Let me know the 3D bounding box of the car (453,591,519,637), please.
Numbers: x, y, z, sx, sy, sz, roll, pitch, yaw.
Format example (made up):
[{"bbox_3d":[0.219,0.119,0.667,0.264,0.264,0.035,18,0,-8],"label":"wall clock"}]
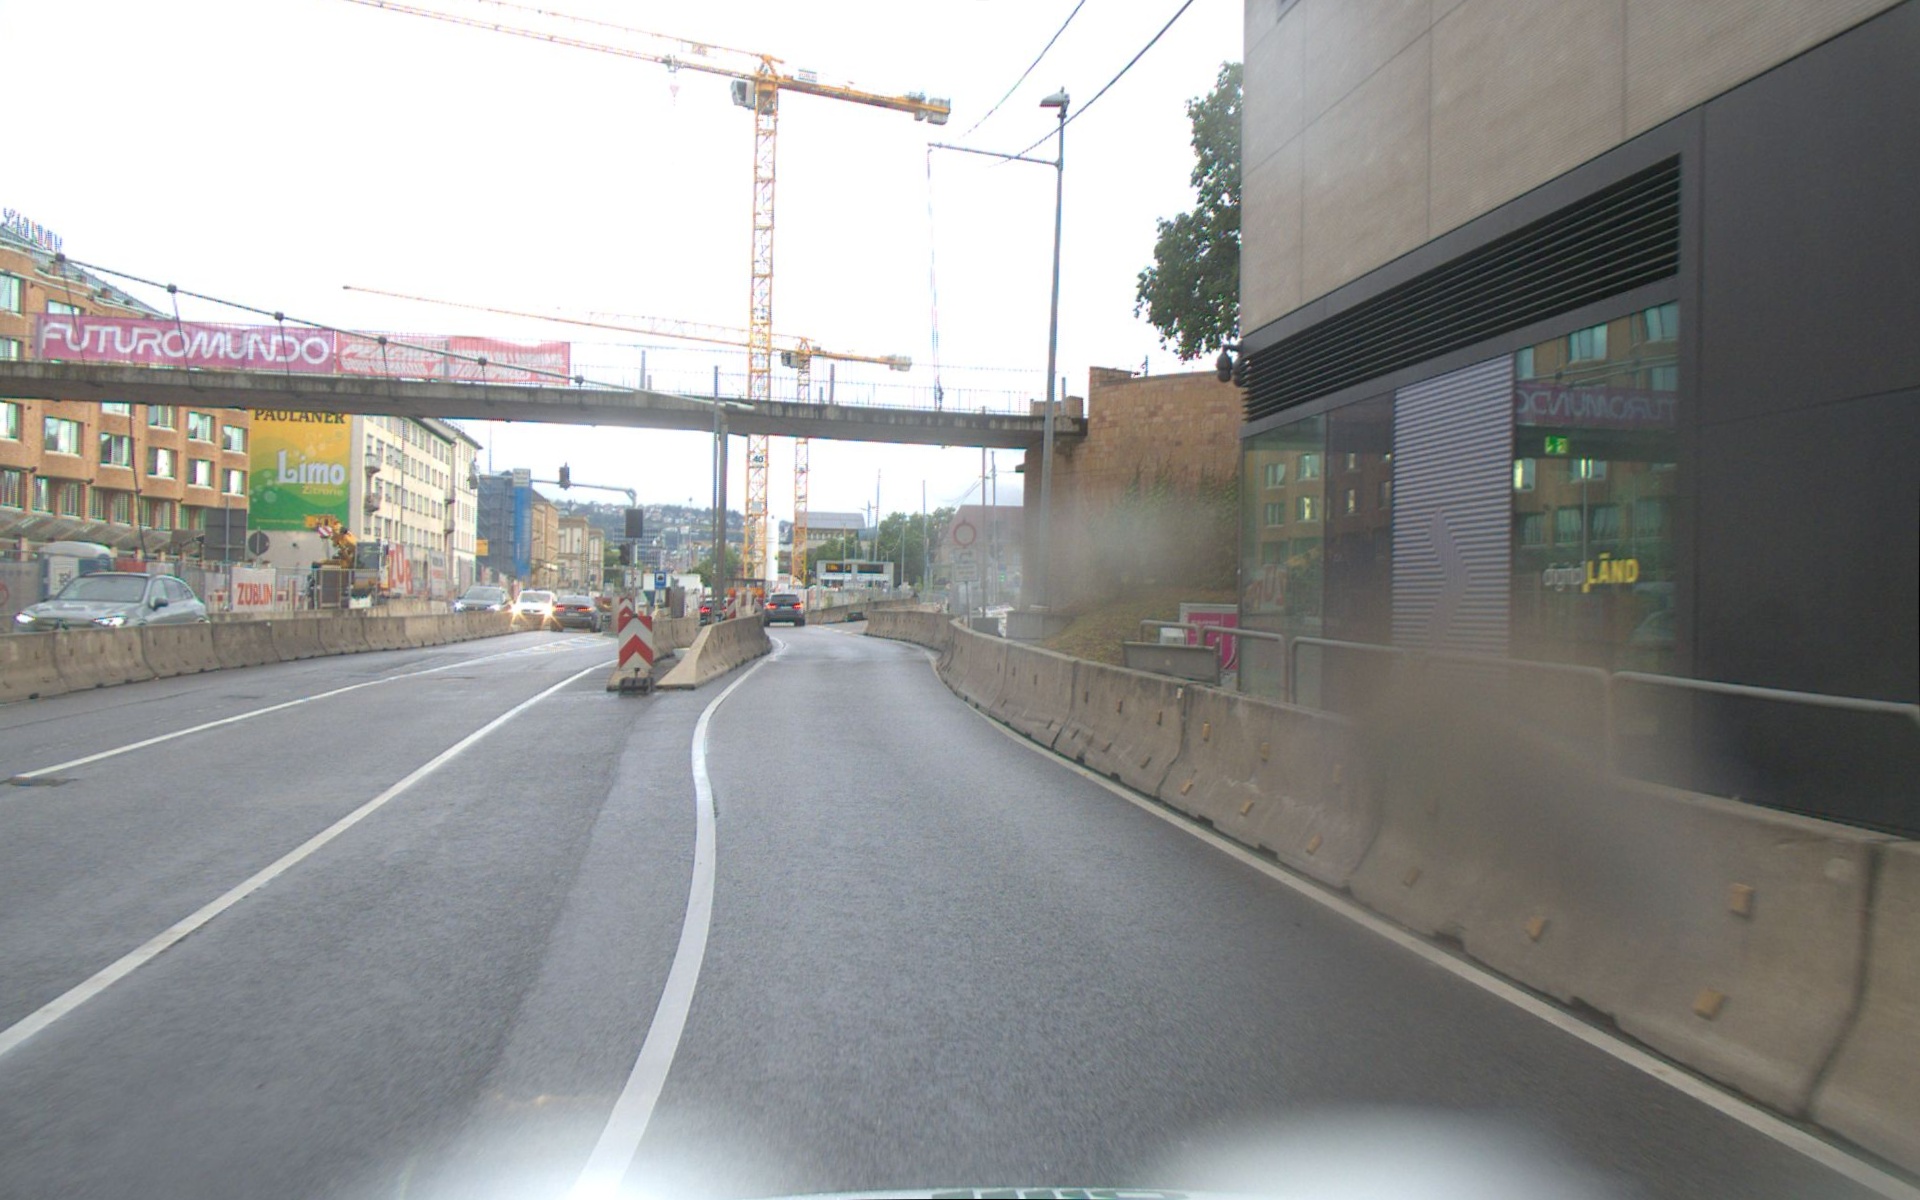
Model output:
[{"bbox_3d":[-18.455,0.506,64.546,1.771,1.651,3.899,1,1,-5],"label":"car"}]

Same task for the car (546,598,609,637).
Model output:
[{"bbox_3d":[-15.280,0.692,66.350,1.827,1.468,4.650,2,0,-6],"label":"car"}]

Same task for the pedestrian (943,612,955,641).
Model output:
[{"bbox_3d":[-0.693,1.668,104.472,0.676,1.809,1.021,0,-2,-7],"label":"pedestrian"}]

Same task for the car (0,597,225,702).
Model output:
[{"bbox_3d":[-14.742,0.795,29.092,1.955,1.651,4.695,1,0,-7],"label":"car"}]

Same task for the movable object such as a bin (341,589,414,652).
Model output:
[{"bbox_3d":[-22.868,0.803,65.084,1.990,2.317,4.281,-2,0,-11],"label":"movable object such as a bin"}]

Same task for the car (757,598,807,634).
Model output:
[{"bbox_3d":[-7.822,0.675,72.350,1.829,1.458,4.644,2,0,-11],"label":"car"}]

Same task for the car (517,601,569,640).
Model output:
[{"bbox_3d":[-20.969,1.013,83.350,1.771,1.853,5.294,1,0,-6],"label":"car"}]

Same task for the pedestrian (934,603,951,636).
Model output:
[{"bbox_3d":[-0.967,1.109,92.397,0.681,1.809,0.808,1,-2,-26],"label":"pedestrian"}]

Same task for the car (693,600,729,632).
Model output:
[{"bbox_3d":[-13.668,0.854,91.002,1.828,1.690,4.648,2,0,-8],"label":"car"}]
